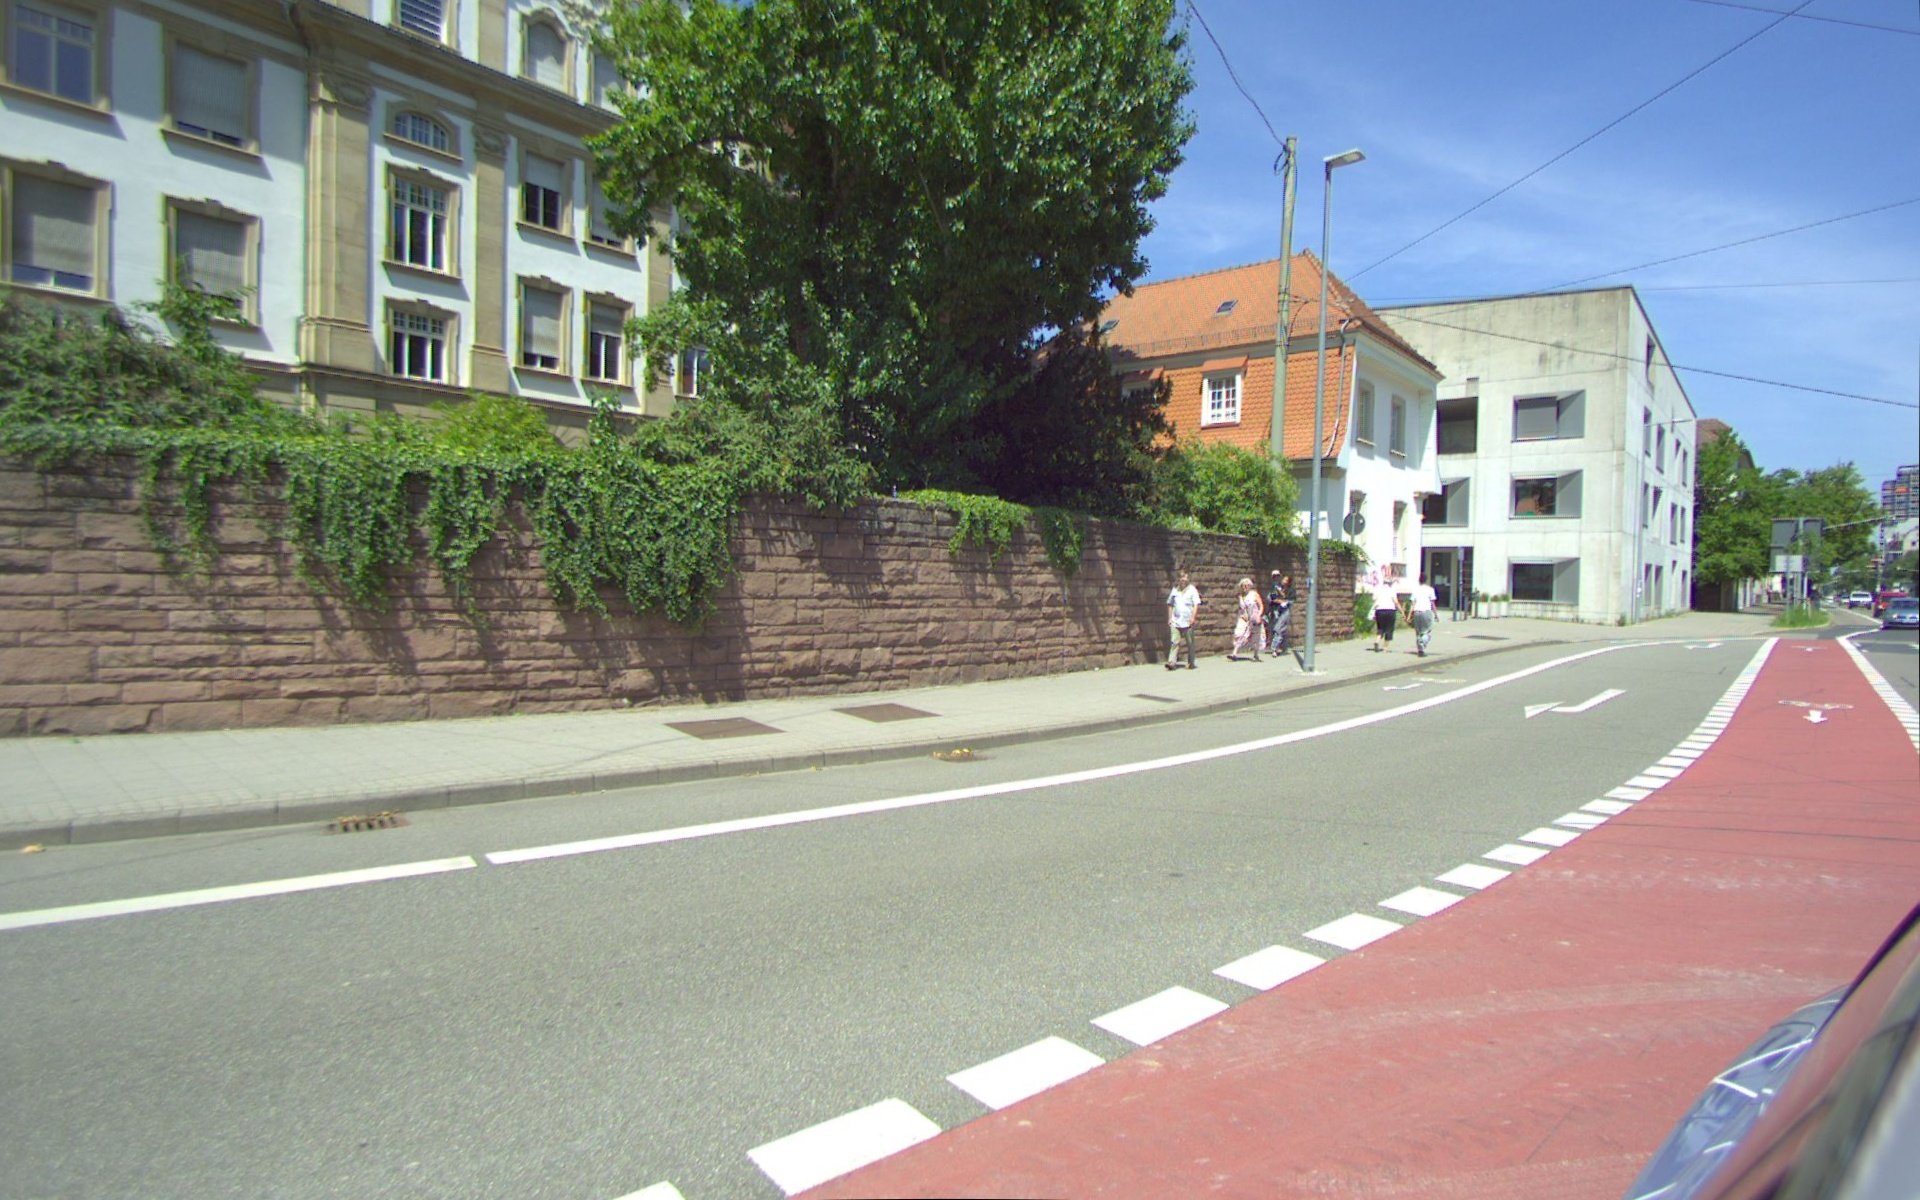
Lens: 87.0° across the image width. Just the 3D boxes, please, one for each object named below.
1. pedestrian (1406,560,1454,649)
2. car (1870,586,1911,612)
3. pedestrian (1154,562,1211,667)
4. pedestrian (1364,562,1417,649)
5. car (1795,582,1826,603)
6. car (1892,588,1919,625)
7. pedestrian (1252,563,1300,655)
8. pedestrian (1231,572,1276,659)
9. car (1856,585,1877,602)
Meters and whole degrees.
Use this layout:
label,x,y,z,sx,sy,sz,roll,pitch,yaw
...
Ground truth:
label,x,y,z,sx,sy,sz,roll,pitch,yaw
pedestrian,9.947,0.080,21.414,0.736,1.830,0.677,0,2,-45
car,63.733,-0.086,69.358,1.868,1.668,3.725,2,2,40
pedestrian,3.661,0.223,16.654,0.614,1.667,0.661,0,2,-44
pedestrian,9.331,0.112,21.920,0.689,1.830,0.815,0,2,-45
car,69.117,-0.597,82.259,1.858,1.596,4.805,2,2,41
car,44.747,0.285,47.076,1.887,1.589,3.978,2,2,40
pedestrian,6.261,0.166,20.069,0.714,1.795,0.621,1,0,36
pedestrian,5.366,0.267,18.492,0.588,1.552,0.516,0,2,-44
car,100.928,-0.728,112.699,1.615,1.730,3.378,2,2,42
